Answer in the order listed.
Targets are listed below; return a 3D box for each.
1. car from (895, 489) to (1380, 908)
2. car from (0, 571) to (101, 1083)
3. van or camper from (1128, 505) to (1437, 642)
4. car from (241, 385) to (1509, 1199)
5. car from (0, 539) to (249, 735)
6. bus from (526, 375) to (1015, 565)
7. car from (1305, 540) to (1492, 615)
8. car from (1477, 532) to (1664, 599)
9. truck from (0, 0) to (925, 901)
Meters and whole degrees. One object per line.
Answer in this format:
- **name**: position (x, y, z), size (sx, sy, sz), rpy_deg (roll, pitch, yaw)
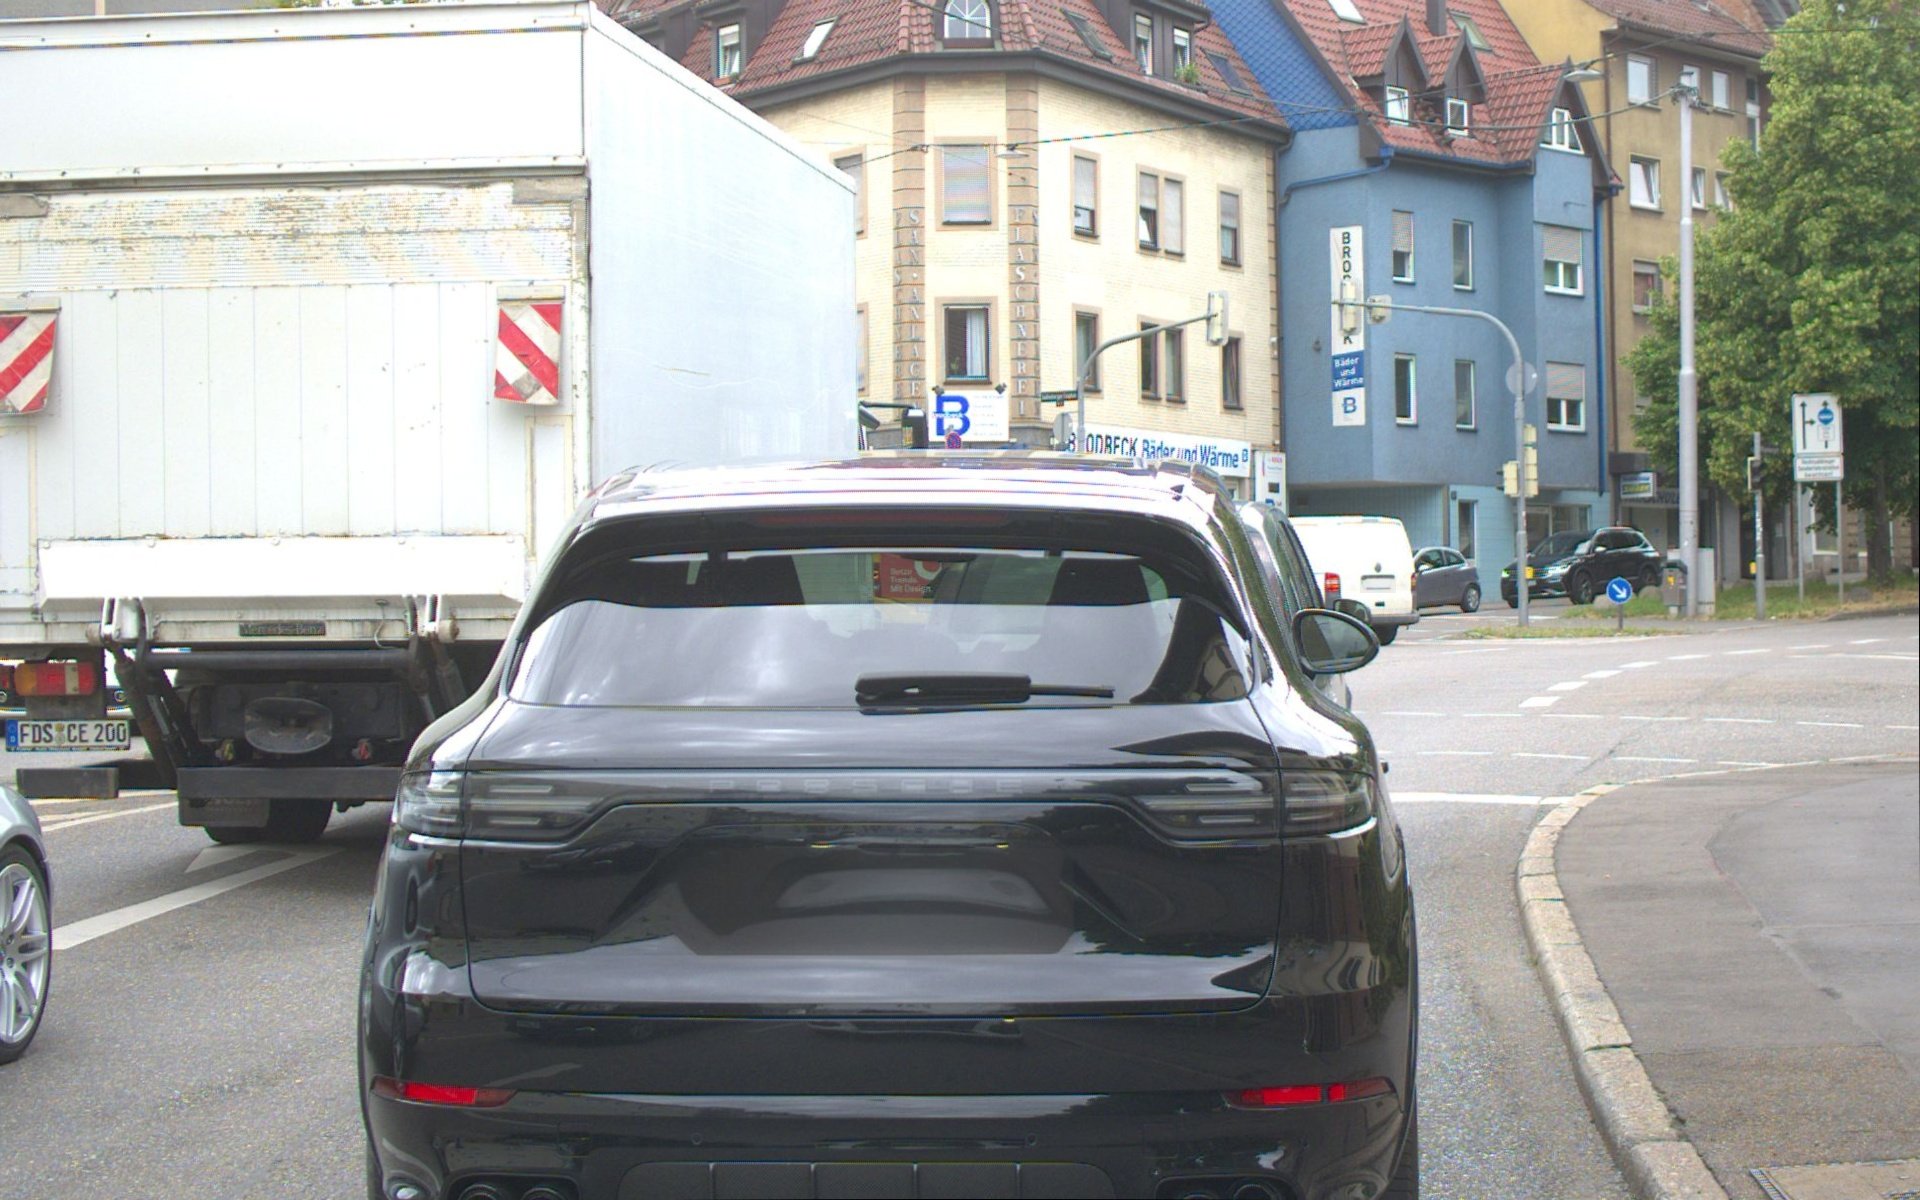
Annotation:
- **car**: position (0.875, 0.349, 14.758), size (1.649, 1.550, 3.581), rpy_deg (1, 1, 10)
- **car**: position (-3.491, 0.650, 8.017), size (1.629, 1.360, 4.128), rpy_deg (-1, 1, 5)
- **van or camper**: position (4.919, -0.426, 53.143), size (1.994, 2.007, 4.830), rpy_deg (0, 1, -37)
- **car**: position (-0.166, 0.468, 7.809), size (2.031, 1.717, 4.500), rpy_deg (1, 1, -1)
- **car**: position (-6.814, 0.254, 27.314), size (1.598, 1.442, 3.530), rpy_deg (-1, 1, 0)
- **bus**: position (-3.880, -2.337, 65.247), size (3.158, 3.085, 12.149), rpy_deg (-2, 0, -36)
- **car**: position (9.106, -0.468, 71.169), size (1.721, 1.471, 4.208), rpy_deg (-1, 0, 42)
- **car**: position (13.575, -0.749, 76.304), size (1.874, 1.411, 4.687), rpy_deg (-1, -1, 42)
- **truck**: position (-2.163, -0.705, 17.581), size (2.726, 3.532, 8.419), rpy_deg (1, 1, 8)
